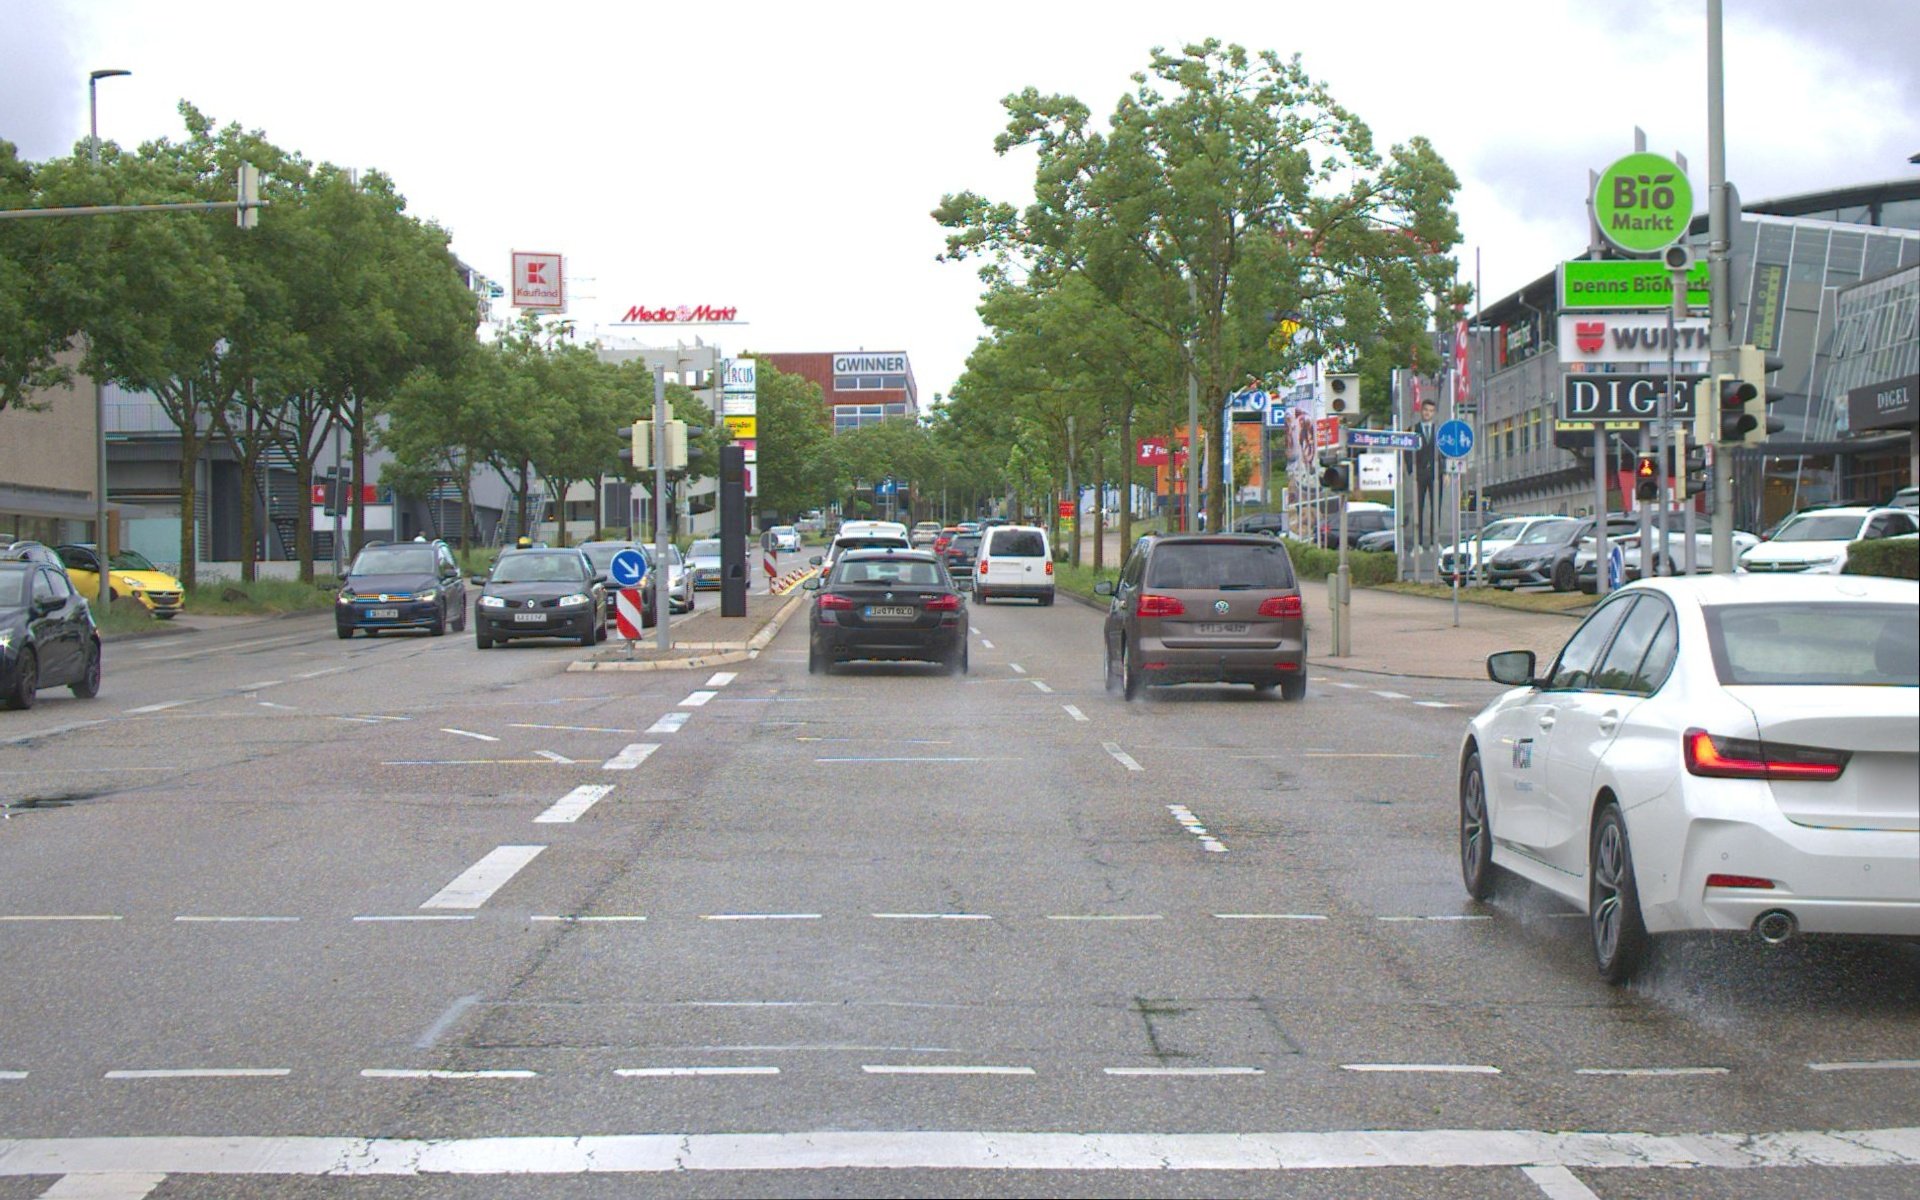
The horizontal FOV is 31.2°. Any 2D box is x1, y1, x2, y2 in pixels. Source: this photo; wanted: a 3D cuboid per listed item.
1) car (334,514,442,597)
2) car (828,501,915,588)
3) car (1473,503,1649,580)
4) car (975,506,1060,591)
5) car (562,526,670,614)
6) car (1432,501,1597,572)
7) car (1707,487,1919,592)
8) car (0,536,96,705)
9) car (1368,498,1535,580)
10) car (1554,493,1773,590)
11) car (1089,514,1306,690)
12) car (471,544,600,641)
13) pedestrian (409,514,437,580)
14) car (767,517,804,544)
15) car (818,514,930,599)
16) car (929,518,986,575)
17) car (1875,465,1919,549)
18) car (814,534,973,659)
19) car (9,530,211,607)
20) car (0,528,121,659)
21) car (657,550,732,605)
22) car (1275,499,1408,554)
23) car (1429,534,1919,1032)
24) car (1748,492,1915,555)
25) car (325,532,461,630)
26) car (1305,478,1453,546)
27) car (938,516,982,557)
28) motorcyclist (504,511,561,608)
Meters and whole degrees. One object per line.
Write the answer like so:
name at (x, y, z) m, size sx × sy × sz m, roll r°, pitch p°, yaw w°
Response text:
car at (-14.378, -1.094, 86.574) m, size 1.993 × 2.007 × 4.000 m, roll 1°, pitch 0°, yaw 0°
car at (-2.115, -1.308, 82.860) m, size 1.993 × 2.007 × 4.000 m, roll 1°, pitch 0°, yaw -1°
car at (12.456, -1.218, 71.147) m, size 3.588 × 1.530 × 1.643 m, roll -2°, pitch 1°, yaw -40°
car at (1.286, -1.181, 78.428) m, size 1.782 × 1.860 × 4.000 m, roll -1°, pitch 1°, yaw -1°
car at (-6.051, -0.548, 60.865) m, size 1.744 × 1.484 × 4.830 m, roll -1°, pitch 1°, yaw -4°
car at (12.727, -1.458, 78.846) m, size 3.588 × 1.530 × 1.796 m, roll -2°, pitch 2°, yaw -40°
car at (13.511, -0.948, 53.304) m, size 1.930 × 1.571 × 4.278 m, roll 0°, pitch 1°, yaw 41°
car at (-9.790, 0.172, 34.000) m, size 1.710 × 1.575 × 4.001 m, roll -1°, pitch 1°, yaw -4°
car at (12.769, -1.605, 89.552) m, size 4.111 × 2.098 × 1.800 m, roll 0°, pitch 1°, yaw 1°
car at (13.402, -1.131, 65.401) m, size 4.016 × 1.657 × 1.982 m, roll -4°, pitch 3°, yaw -40°
car at (2.278, -0.021, 34.022) m, size 1.801 × 1.581 × 4.451 m, roll 1°, pitch 1°, yaw 0°
car at (-6.277, -0.139, 51.148) m, size 1.682 × 1.372 × 4.001 m, roll -1°, pitch 1°, yaw -4°
pedestrian at (-18.160, -1.806, 116.240) m, size 0.858 × 2.210 × 0.846 m, roll 0°, pitch 1°, yaw -4°
car at (-9.527, -3.814, 187.990) m, size 1.943 × 1.443 × 4.000 m, roll 0°, pitch 1°, yaw -1°
car at (-1.480, -0.739, 57.873) m, size 1.682 × 1.372 × 4.001 m, roll -1°, pitch 1°, yaw -4°
car at (-0.076, -1.650, 106.127) m, size 1.685 × 1.678 × 3.403 m, roll 1°, pitch 0°, yaw 0°
car at (21.745, -2.012, 74.289) m, size 4.142 × 1.765 × 1.737 m, roll -2°, pitch 1°, yaw -40°
car at (-0.785, -0.068, 40.780) m, size 1.781 × 1.393 × 4.000 m, roll 0°, pitch 1°, yaw -1°
car at (-17.854, -0.652, 72.191) m, size 3.995 × 1.546 × 1.896 m, roll 0°, pitch 2°, yaw 34°
car at (-13.167, -0.126, 47.685) m, size 1.910 × 1.721 × 4.884 m, roll -1°, pitch 1°, yaw -1°
car at (-7.316, -0.647, 95.115) m, size 1.723 × 1.393 × 4.789 m, roll -3°, pitch 1°, yaw -1°
car at (11.965, -2.297, 107.931) m, size 4.111 × 1.697 × 1.799 m, roll 0°, pitch 1°, yaw 5°
car at (3.082, 0.557, 13.076) m, size 1.801 × 1.539 × 4.620 m, roll 1°, pitch 1°, yaw -2°
car at (21.446, -1.892, 84.549) m, size 4.143 × 1.463 × 1.831 m, roll -2°, pitch 2°, yaw -38°
car at (-9.764, -0.350, 59.470) m, size 1.910 × 1.603 × 4.364 m, roll -1°, pitch 1°, yaw -4°
car at (12.240, -2.584, 100.630) m, size 4.111 × 1.898 × 1.799 m, roll -1°, pitch 1°, yaw 1°
car at (-0.006, -2.518, 135.622) m, size 1.695 × 1.438 × 3.990 m, roll -1°, pitch 4°, yaw 0°
motorcyclist at (-6.920, -0.670, 55.748) m, size 0.806 × 1.554 × 1.268 m, roll 0°, pitch 1°, yaw -2°
